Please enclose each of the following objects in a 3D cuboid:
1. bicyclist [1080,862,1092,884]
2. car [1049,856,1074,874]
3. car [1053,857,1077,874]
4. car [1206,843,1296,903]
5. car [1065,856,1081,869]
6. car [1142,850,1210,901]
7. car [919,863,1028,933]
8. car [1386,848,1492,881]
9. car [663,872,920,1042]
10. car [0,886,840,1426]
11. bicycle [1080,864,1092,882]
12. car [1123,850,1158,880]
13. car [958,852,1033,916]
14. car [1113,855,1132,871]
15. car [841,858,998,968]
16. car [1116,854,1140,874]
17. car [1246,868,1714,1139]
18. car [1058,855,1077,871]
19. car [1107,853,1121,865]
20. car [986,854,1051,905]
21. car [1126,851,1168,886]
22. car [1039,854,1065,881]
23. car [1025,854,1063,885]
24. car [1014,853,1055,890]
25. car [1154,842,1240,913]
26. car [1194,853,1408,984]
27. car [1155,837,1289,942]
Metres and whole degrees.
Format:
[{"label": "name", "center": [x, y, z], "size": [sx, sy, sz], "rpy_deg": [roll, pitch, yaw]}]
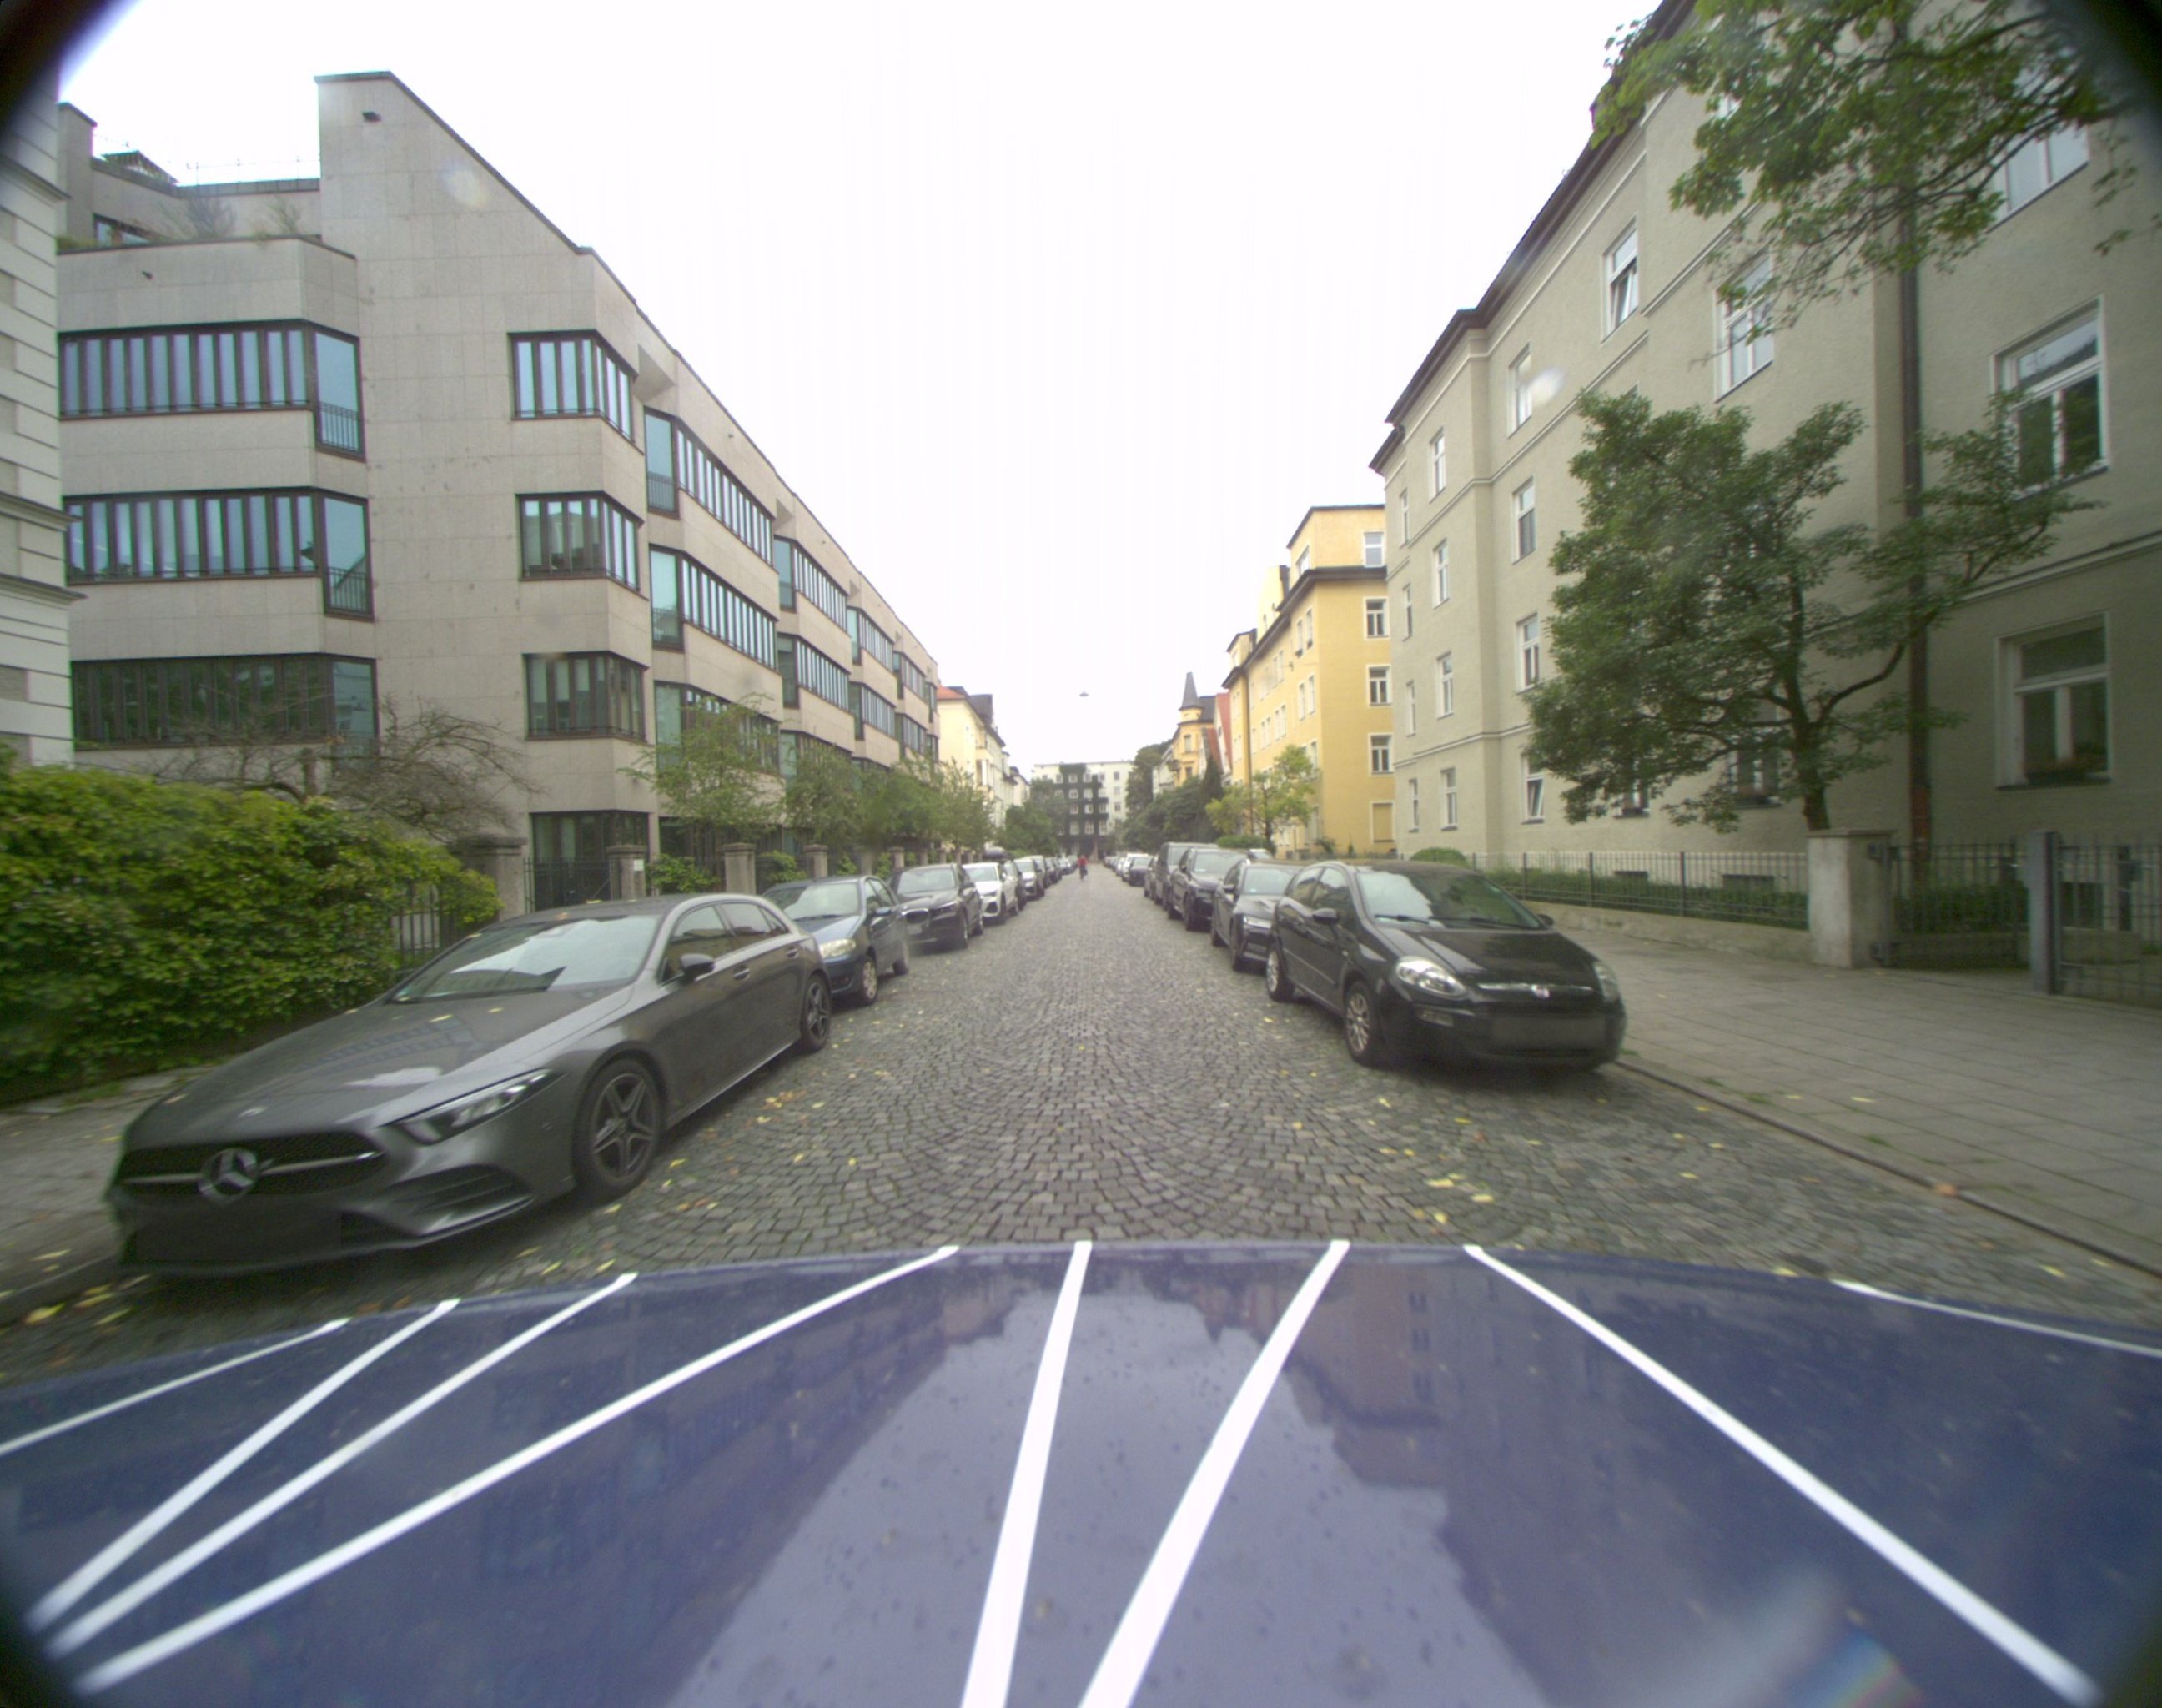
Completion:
[{"label": "bicyclist", "center": [0.323, 1.192, 47.535], "size": [0.648, 1.350, 0.656], "rpy_deg": [-3, 1, 0]}, {"label": "car", "center": [-1.806, 1.012, 71.907], "size": [1.998, 1.543, 5.014], "rpy_deg": [-4, 0, 1]}, {"label": "car", "center": [-1.576, 1.114, 77.122], "size": [1.998, 1.543, 4.986], "rpy_deg": [-4, 0, 2]}, {"label": "car", "center": [5.711, 0.582, 26.121], "size": [1.950, 1.725, 4.657], "rpy_deg": [-5, 0, 0]}, {"label": "car", "center": [-1.081, 1.134, 103.586], "size": [1.909, 1.494, 5.105], "rpy_deg": [-5, 0, 2]}, {"label": "car", "center": [3.446, 0.752, 28.394], "size": [1.870, 1.725, 4.403], "rpy_deg": [1, 0, -1]}, {"label": "car", "center": [-2.668, 1.053, 19.980], "size": [1.877, 1.481, 4.618], "rpy_deg": [-4, 0, 3]}, {"label": "car", "center": [16.686, 0.480, 35.522], "size": [4.077, 1.415, 1.833], "rpy_deg": [-1, 1, 2]}, {"label": "car", "center": [-3.230, 1.045, 9.399], "size": [1.698, 1.432, 4.060], "rpy_deg": [-5, 0, -3]}, {"label": "car", "center": [-3.051, 1.083, 4.590], "size": [1.718, 1.464, 4.268], "rpy_deg": [-5, 0, 0]}, {"label": "bicycle", "center": [0.316, 1.171, 47.582], "size": [0.636, 1.021, 1.955], "rpy_deg": [-3, 1, 1]}, {"label": "car", "center": [3.704, 0.653, 48.106], "size": [2.011, 1.798, 5.175], "rpy_deg": [0, 0, 2]}, {"label": "car", "center": [-2.698, 0.904, 25.115], "size": [1.878, 1.725, 4.747], "rpy_deg": [-5, 0, -1]}, {"label": "car", "center": [4.182, 0.888, 77.205], "size": [1.819, 1.447, 4.913], "rpy_deg": [1, 0, 2]}, {"label": "car", "center": [-2.947, 1.004, 15.006], "size": [1.878, 1.660, 4.657], "rpy_deg": [-4, 0, 1]}, {"label": "car", "center": [3.761, 0.800, 61.479], "size": [1.718, 1.553, 4.390], "rpy_deg": [0, 0, 1]}, {"label": "car", "center": [2.747, 0.892, 6.434], "size": [1.667, 1.435, 4.170], "rpy_deg": [-1, 0, -2]}, {"label": "car", "center": [-1.433, 0.948, 82.207], "size": [1.898, 1.644, 4.294], "rpy_deg": [-3, 0, 1]}, {"label": "car", "center": [4.651, 0.716, 107.321], "size": [1.846, 1.576, 4.192], "rpy_deg": [-1, 0, 0]}, {"label": "car", "center": [-2.403, 0.942, 30.410], "size": [1.877, 1.725, 4.892], "rpy_deg": [-4, 0, 3]}, {"label": "car", "center": [3.550, 0.742, 41.543], "size": [1.922, 1.725, 4.756], "rpy_deg": [2, 0, 2]}, {"label": "car", "center": [-2.114, 0.960, 55.956], "size": [1.622, 1.740, 3.887], "rpy_deg": [-5, 0, 0]}, {"label": "car", "center": [-2.259, 0.940, 47.398], "size": [1.865, 1.692, 4.813], "rpy_deg": [-5, 0, 1]}, {"label": "car", "center": [-2.513, 0.915, 41.960], "size": [1.793, 1.786, 4.509], "rpy_deg": [-6, 0, 0]}, {"label": "car", "center": [3.341, 0.626, 22.830], "size": [1.878, 1.906, 4.827], "rpy_deg": [0, 0, 0]}, {"label": "car", "center": [2.992, 0.767, 11.569], "size": [1.983, 1.552, 5.018], "rpy_deg": [0, 0, 2]}, {"label": "car", "center": [2.887, 0.658, 16.794], "size": [1.998, 1.906, 5.177], "rpy_deg": [1, 0, 0]}]
